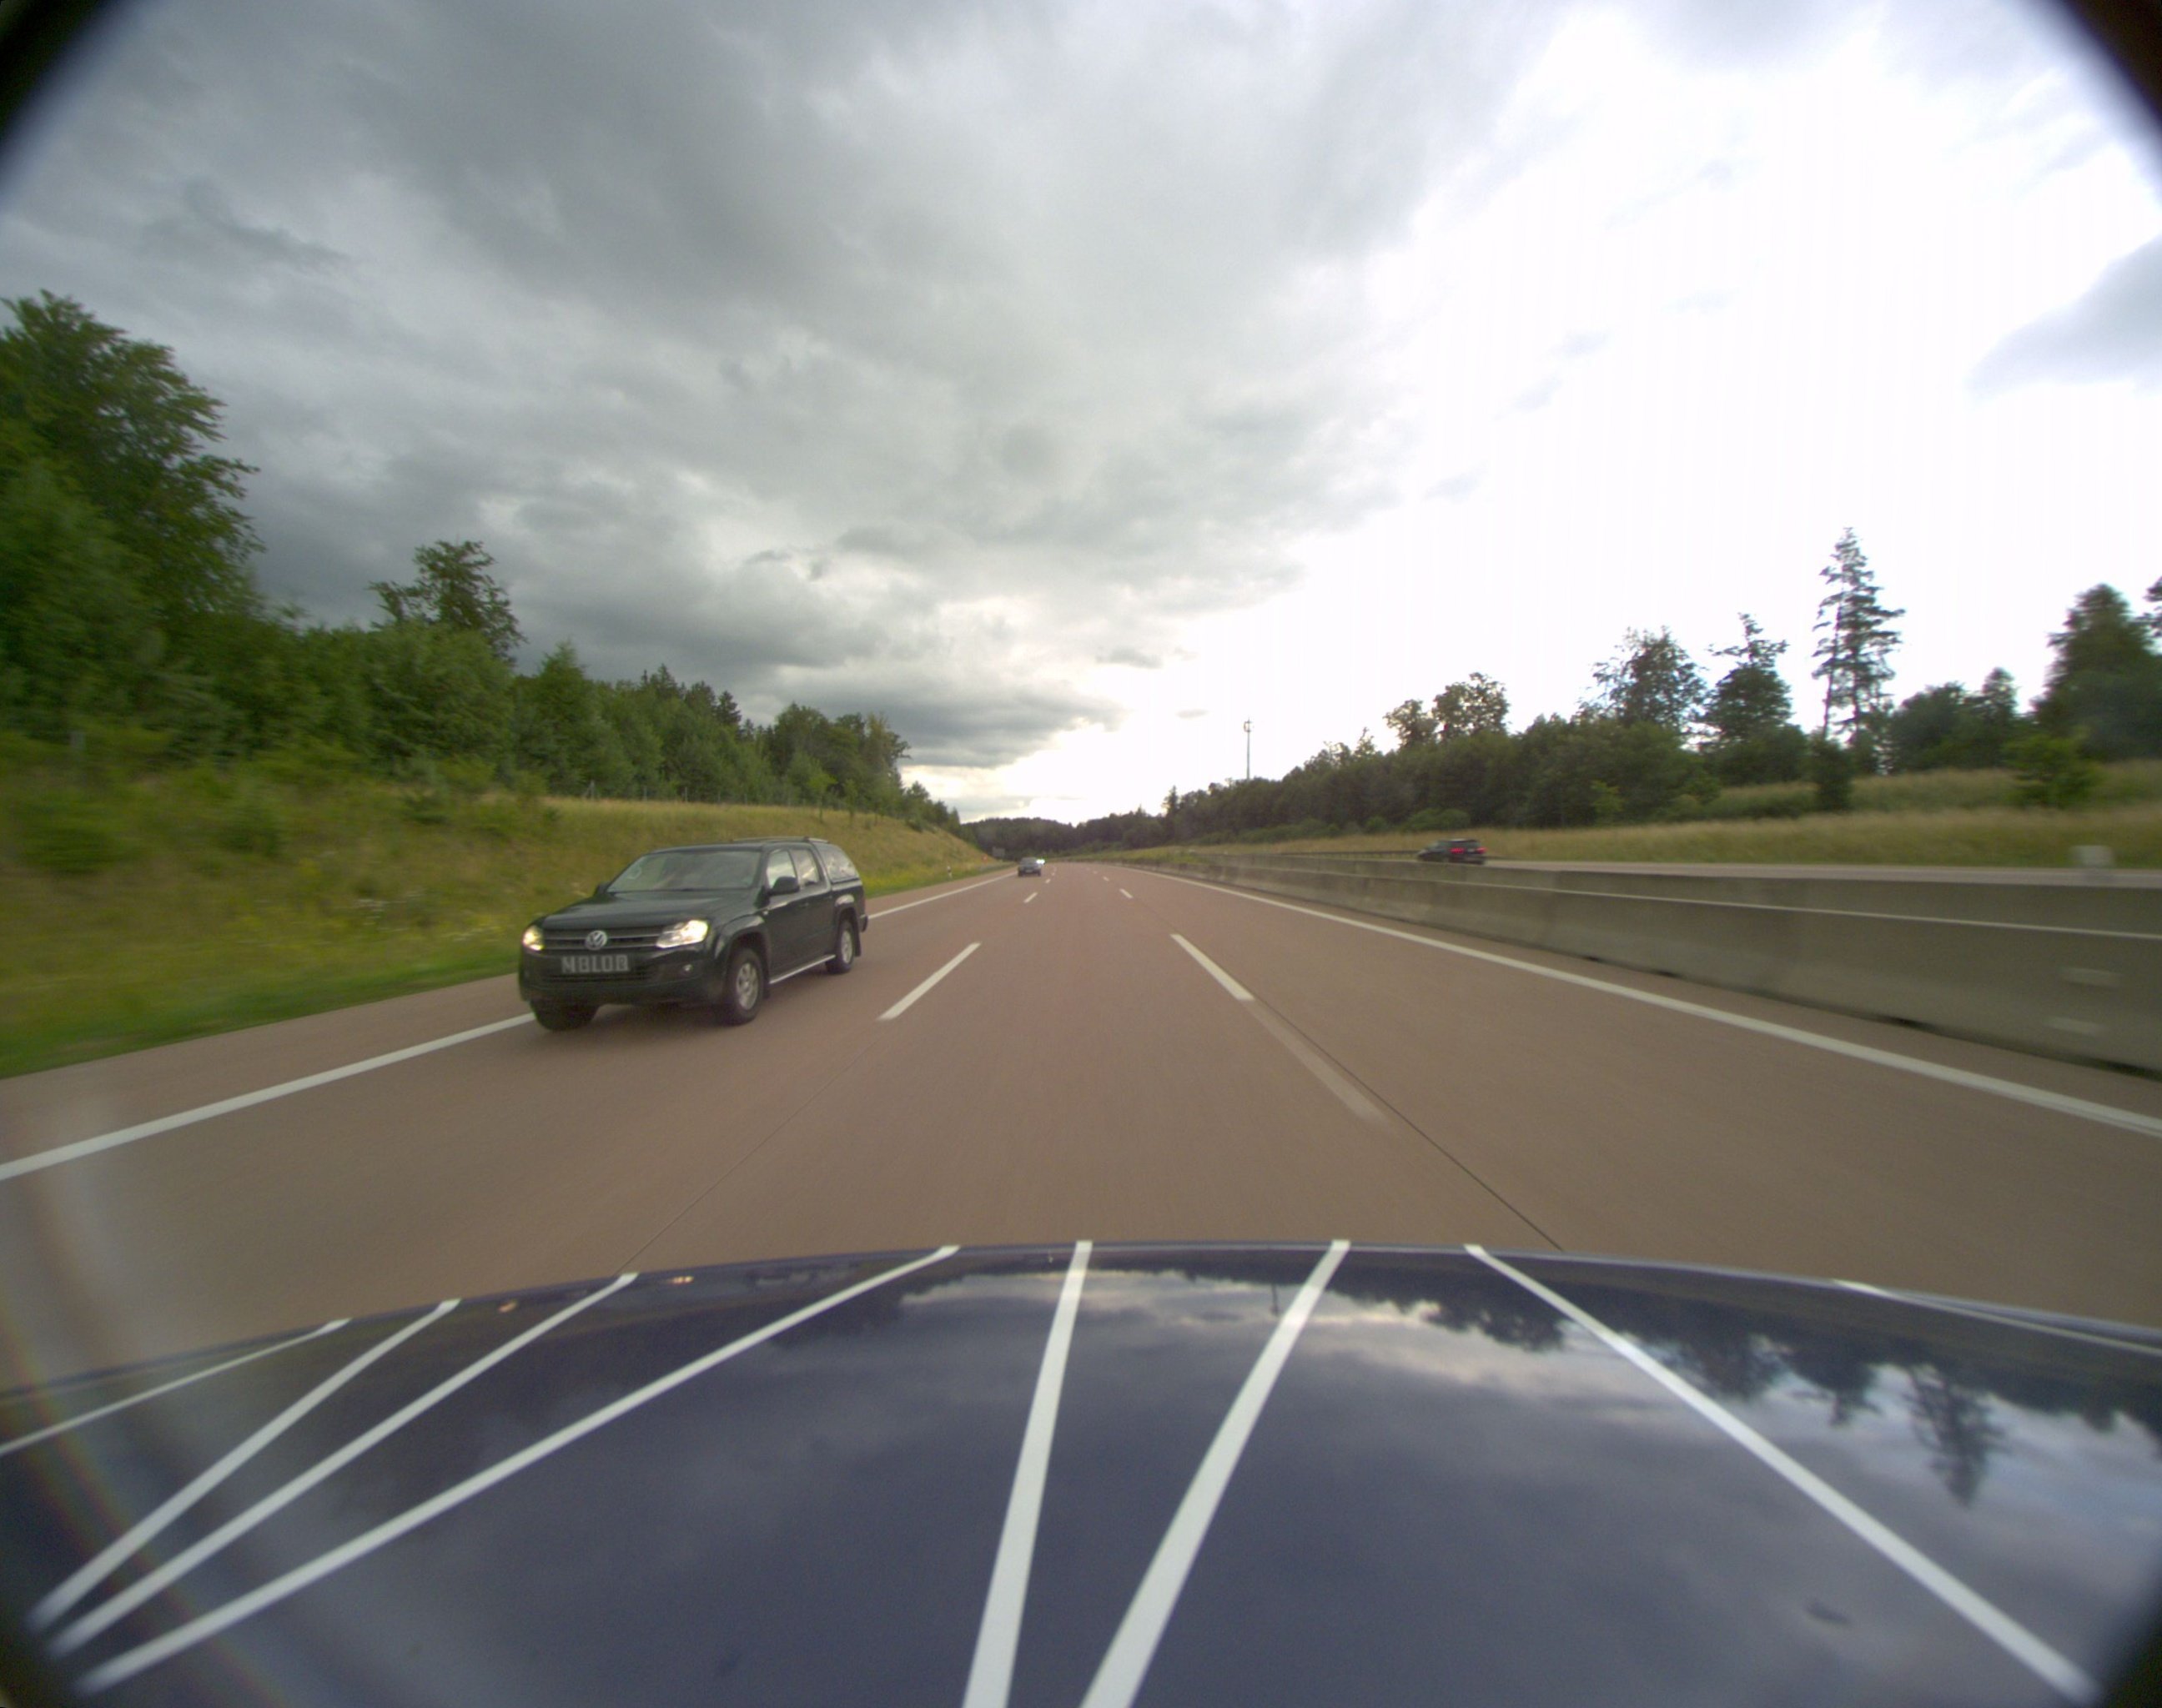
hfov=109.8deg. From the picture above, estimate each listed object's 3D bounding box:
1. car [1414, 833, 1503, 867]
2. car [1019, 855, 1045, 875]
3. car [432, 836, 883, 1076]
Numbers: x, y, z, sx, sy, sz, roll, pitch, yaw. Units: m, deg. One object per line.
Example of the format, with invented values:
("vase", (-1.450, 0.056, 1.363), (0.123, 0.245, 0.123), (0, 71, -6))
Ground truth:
("car", (18.267, -0.218, 37.032), (1.935, 1.479, 4.421), (-2, 1, -3))
("car", (-3.756, 0.796, 58.912), (1.676, 1.395, 4.232), (-1, 1, 0))
("car", (-4.125, 0.790, 8.889), (2.049, 1.886, 5.576), (-1, 1, 1))
